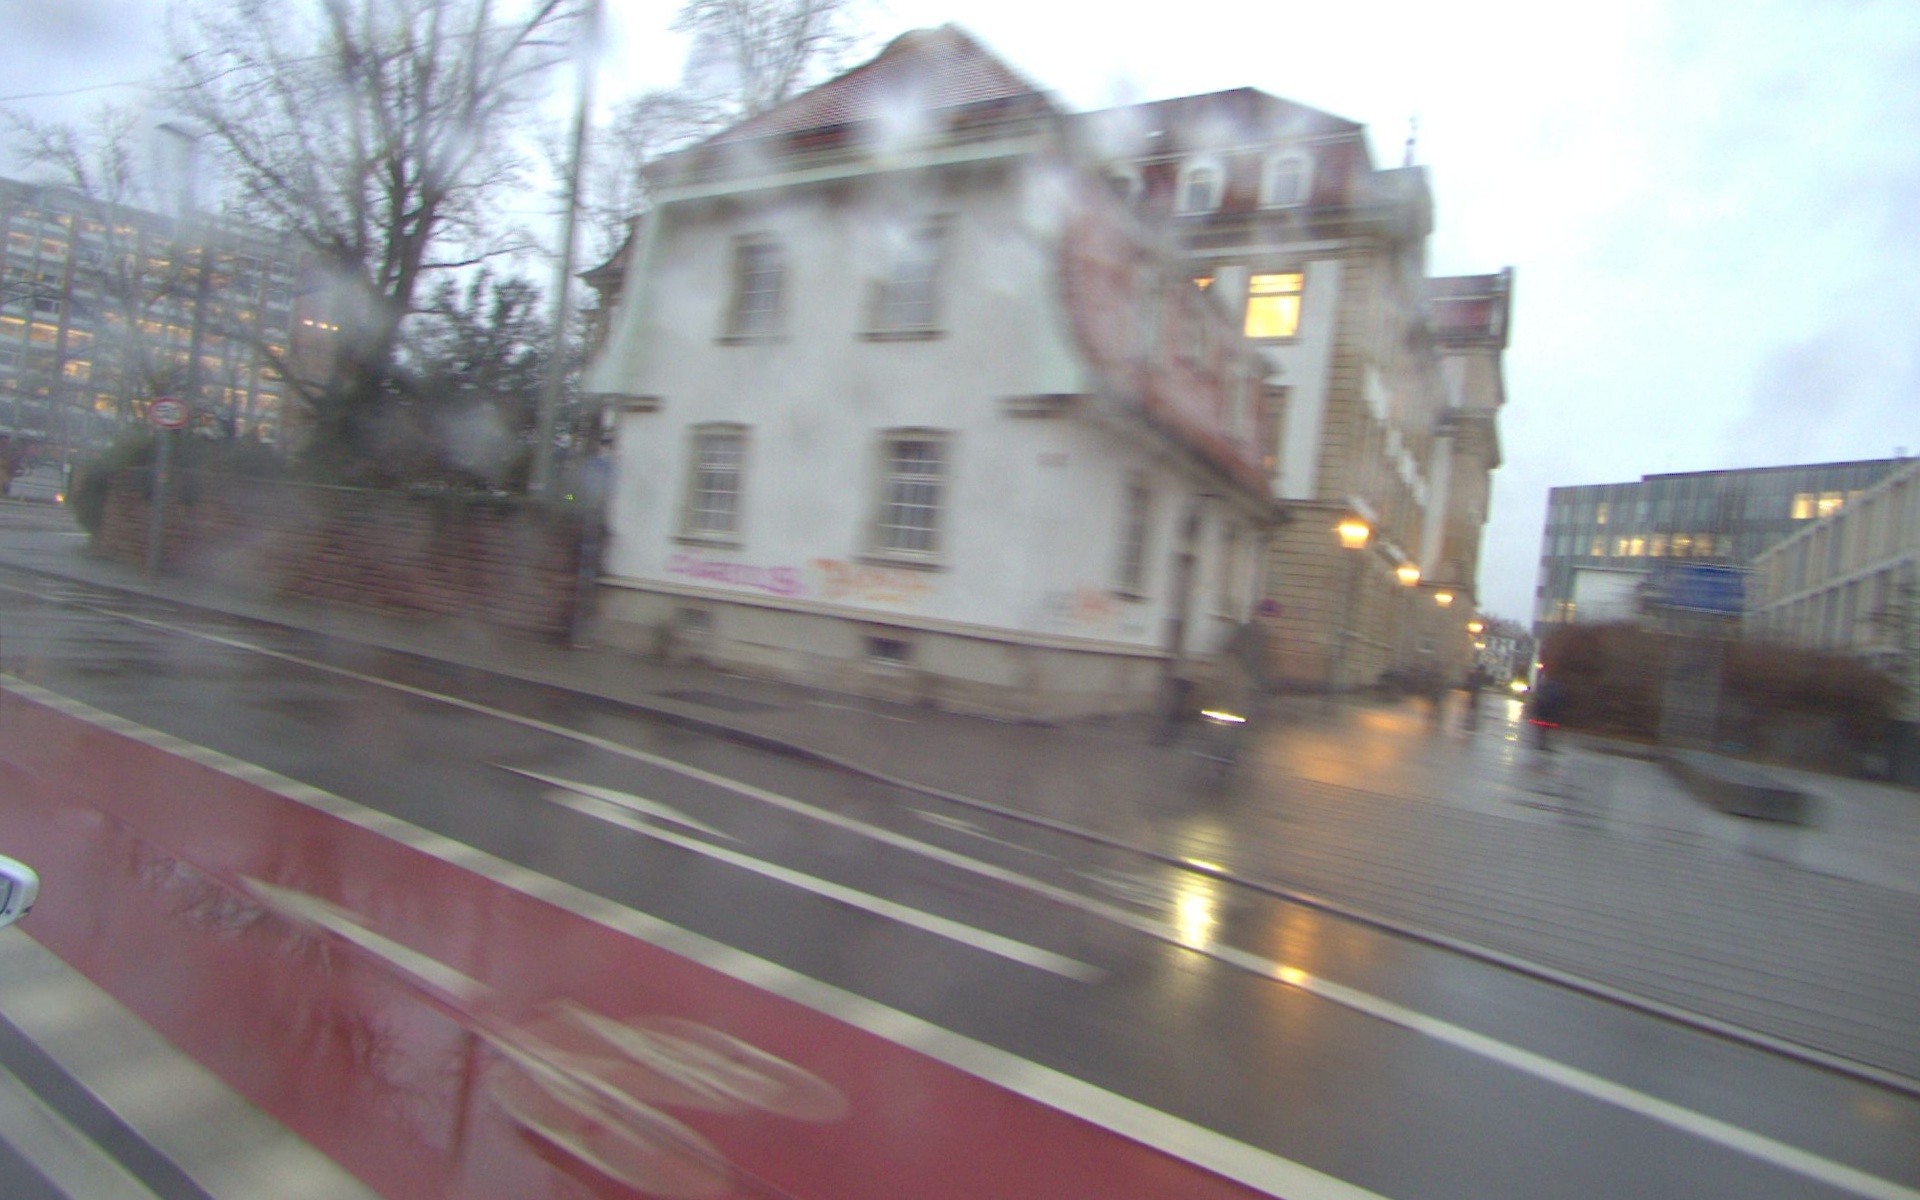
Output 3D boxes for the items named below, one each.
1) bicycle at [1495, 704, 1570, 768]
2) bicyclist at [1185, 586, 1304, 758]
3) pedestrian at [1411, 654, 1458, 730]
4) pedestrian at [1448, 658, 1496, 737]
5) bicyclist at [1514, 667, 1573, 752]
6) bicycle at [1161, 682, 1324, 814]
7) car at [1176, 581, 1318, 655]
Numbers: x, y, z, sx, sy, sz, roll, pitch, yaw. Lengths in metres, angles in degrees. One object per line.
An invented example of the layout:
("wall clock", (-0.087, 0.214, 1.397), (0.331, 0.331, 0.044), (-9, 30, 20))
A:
("bicycle", (10.406, 2.470, 18.236), (0.891, 0.956, 2.016), (7, -3, 36))
("bicyclist", (2.929, 0.735, 10.329), (0.768, 1.614, 0.854), (7, -1, 35))
("pedestrian", (11.188, 2.156, 23.698), (0.735, 1.664, 0.778), (8, 2, 31))
("pedestrian", (11.859, 2.248, 23.278), (0.735, 1.705, 0.778), (8, 2, 31))
("bicyclist", (10.705, 2.016, 18.450), (0.726, 1.425, 0.860), (7, -2, 36))
("bicycle", (2.968, 1.461, 10.419), (0.929, 0.957, 2.113), (7, 4, 34))
("car", (8.665, 0.532, 30.432), (3.617, 1.680, 1.756), (7, -3, 32))
